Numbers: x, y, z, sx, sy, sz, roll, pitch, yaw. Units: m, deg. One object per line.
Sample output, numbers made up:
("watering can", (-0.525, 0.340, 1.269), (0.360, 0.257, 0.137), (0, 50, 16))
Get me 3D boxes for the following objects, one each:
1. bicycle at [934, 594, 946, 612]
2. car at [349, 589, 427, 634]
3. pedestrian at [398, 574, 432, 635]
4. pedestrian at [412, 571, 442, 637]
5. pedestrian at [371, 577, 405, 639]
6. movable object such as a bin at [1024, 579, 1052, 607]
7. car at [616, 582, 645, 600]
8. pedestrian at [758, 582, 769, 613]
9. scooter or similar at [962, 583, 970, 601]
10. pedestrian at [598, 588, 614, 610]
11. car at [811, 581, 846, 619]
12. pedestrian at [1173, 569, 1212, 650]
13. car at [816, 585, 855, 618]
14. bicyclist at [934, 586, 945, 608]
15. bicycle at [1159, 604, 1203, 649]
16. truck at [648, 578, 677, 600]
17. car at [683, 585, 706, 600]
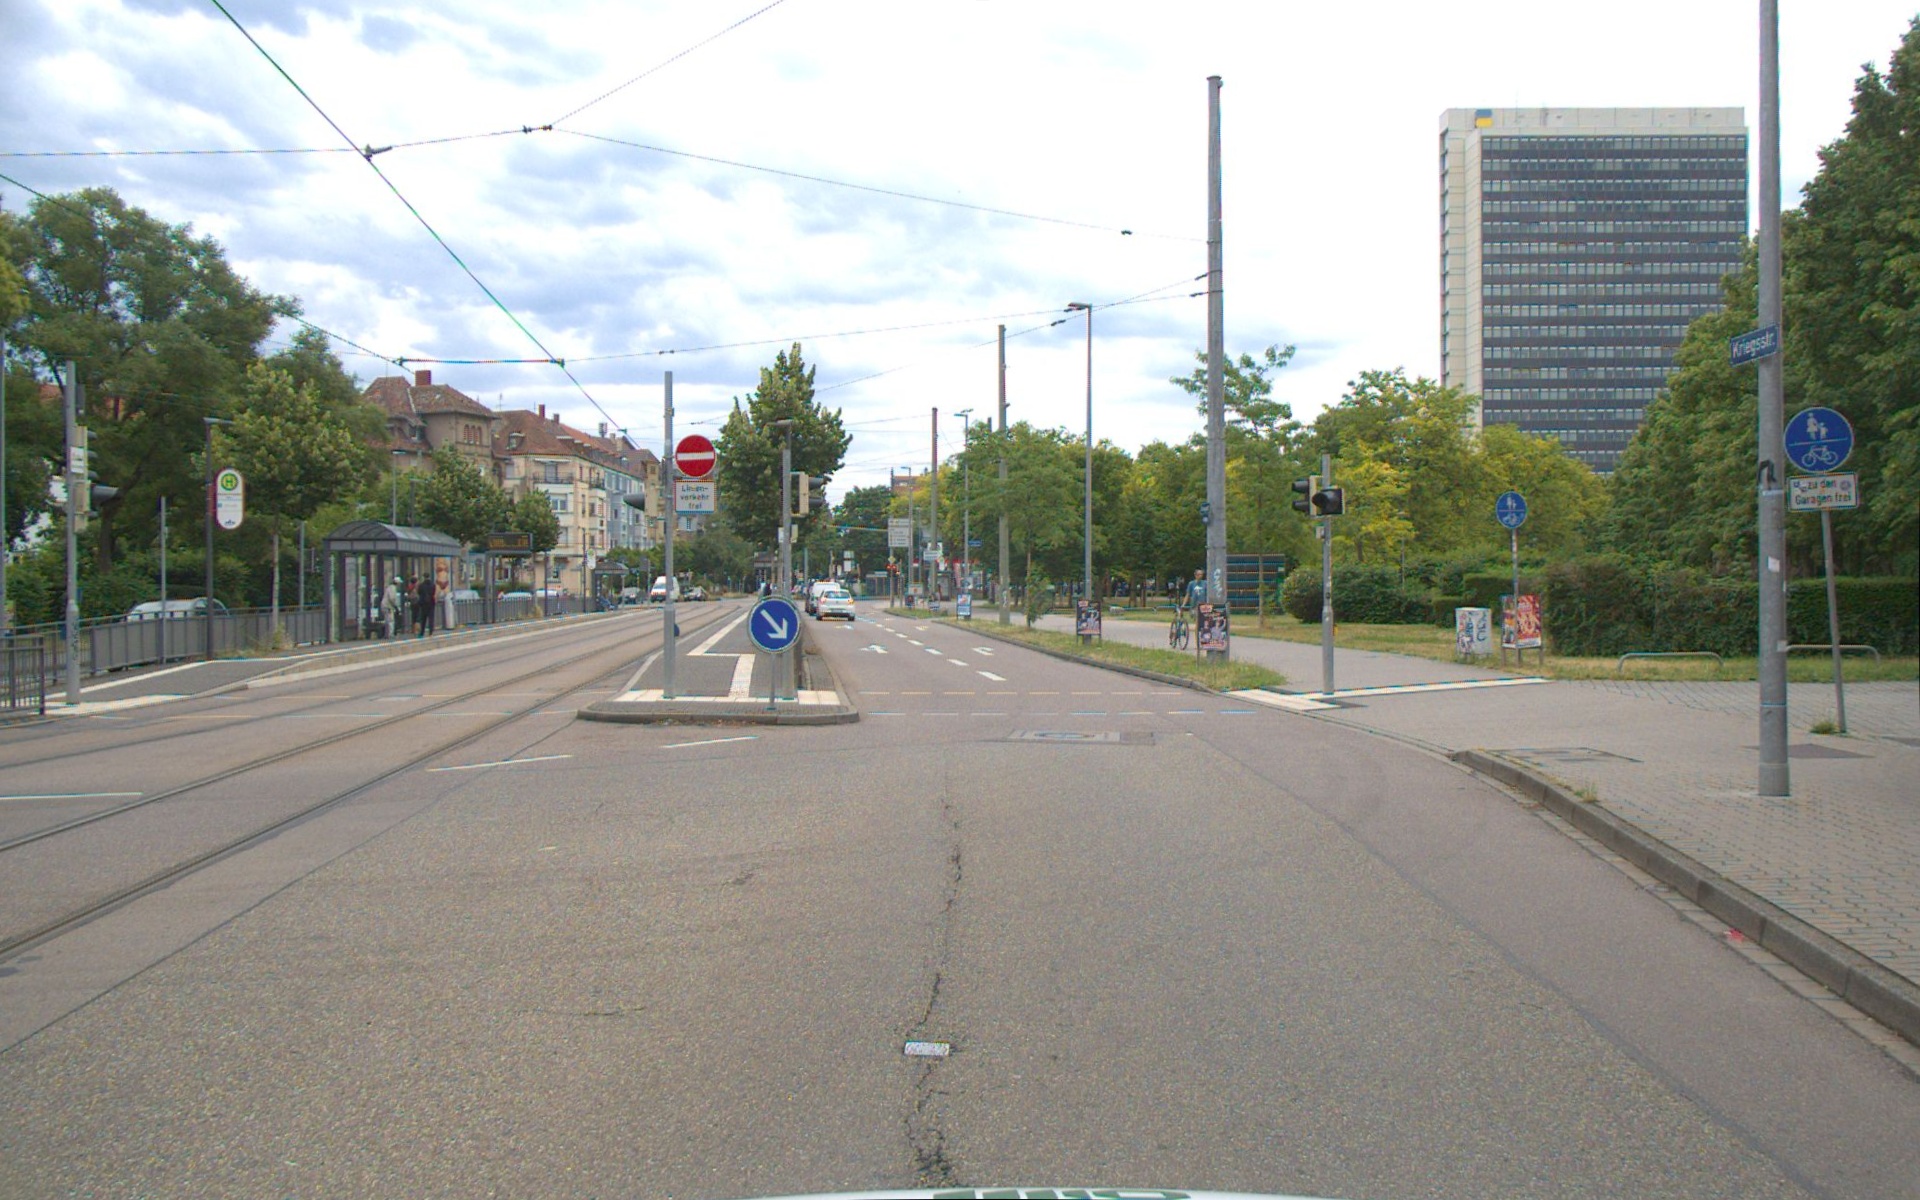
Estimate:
("bicycle", (-1.299, 0.191, 107.480), (0.665, 1.175, 1.897), (-1, 1, -3))
("car", (-19.968, 0.383, 57.872), (1.736, 1.519, 3.882), (0, 0, -6))
("pedestrian", (-15.481, 0.114, 47.000), (0.754, 1.689, 1.023), (-1, 0, -9))
("pedestrian", (-14.211, 0.099, 44.140), (0.688, 1.745, 0.696), (-1, 0, -15))
("pedestrian", (-15.444, 0.216, 44.659), (0.664, 1.652, 0.634), (-1, 0, 4))
("movable object such as a bin", (3.980, -0.341, 84.292), (1.257, 1.414, 1.158), (0, 0, -6))
("car", (-28.816, -0.796, 144.641), (1.734, 1.519, 3.887), (0, 0, 0))
("pedestrian", (-9.998, -0.116, 84.185), (0.521, 1.585, 0.570), (-1, 0, -3))
("scooter or similar", (0.403, -0.550, 110.242), (0.368, 1.161, 1.200), (-1, 0, 5))
("pedestrian", (-21.282, -0.087, 99.508), (0.848, 1.289, 0.692), (-1, 1, -9))
("car", (-7.276, -0.038, 91.059), (1.748, 1.997, 4.376), (0, 1, -7))
("pedestrian", (5.570, 0.224, 39.642), (0.726, 1.902, 0.681), (-1, 0, -8))
("car", (-5.729, 0.046, 76.307), (1.747, 1.498, 4.007), (0, 1, -4))
("bicyclist", (-1.318, -0.193, 107.484), (0.665, 1.403, 0.727), (-1, 1, -3))
("bicycle", (5.298, 0.629, 39.664), (0.642, 1.020, 1.777), (-1, 1, -6))
("truck", (-28.196, -1.013, 157.034), (1.751, 2.068, 5.396), (0, 0, 0))
("car", (-27.390, -0.746, 170.895), (1.734, 1.519, 3.887), (0, 0, 0))
